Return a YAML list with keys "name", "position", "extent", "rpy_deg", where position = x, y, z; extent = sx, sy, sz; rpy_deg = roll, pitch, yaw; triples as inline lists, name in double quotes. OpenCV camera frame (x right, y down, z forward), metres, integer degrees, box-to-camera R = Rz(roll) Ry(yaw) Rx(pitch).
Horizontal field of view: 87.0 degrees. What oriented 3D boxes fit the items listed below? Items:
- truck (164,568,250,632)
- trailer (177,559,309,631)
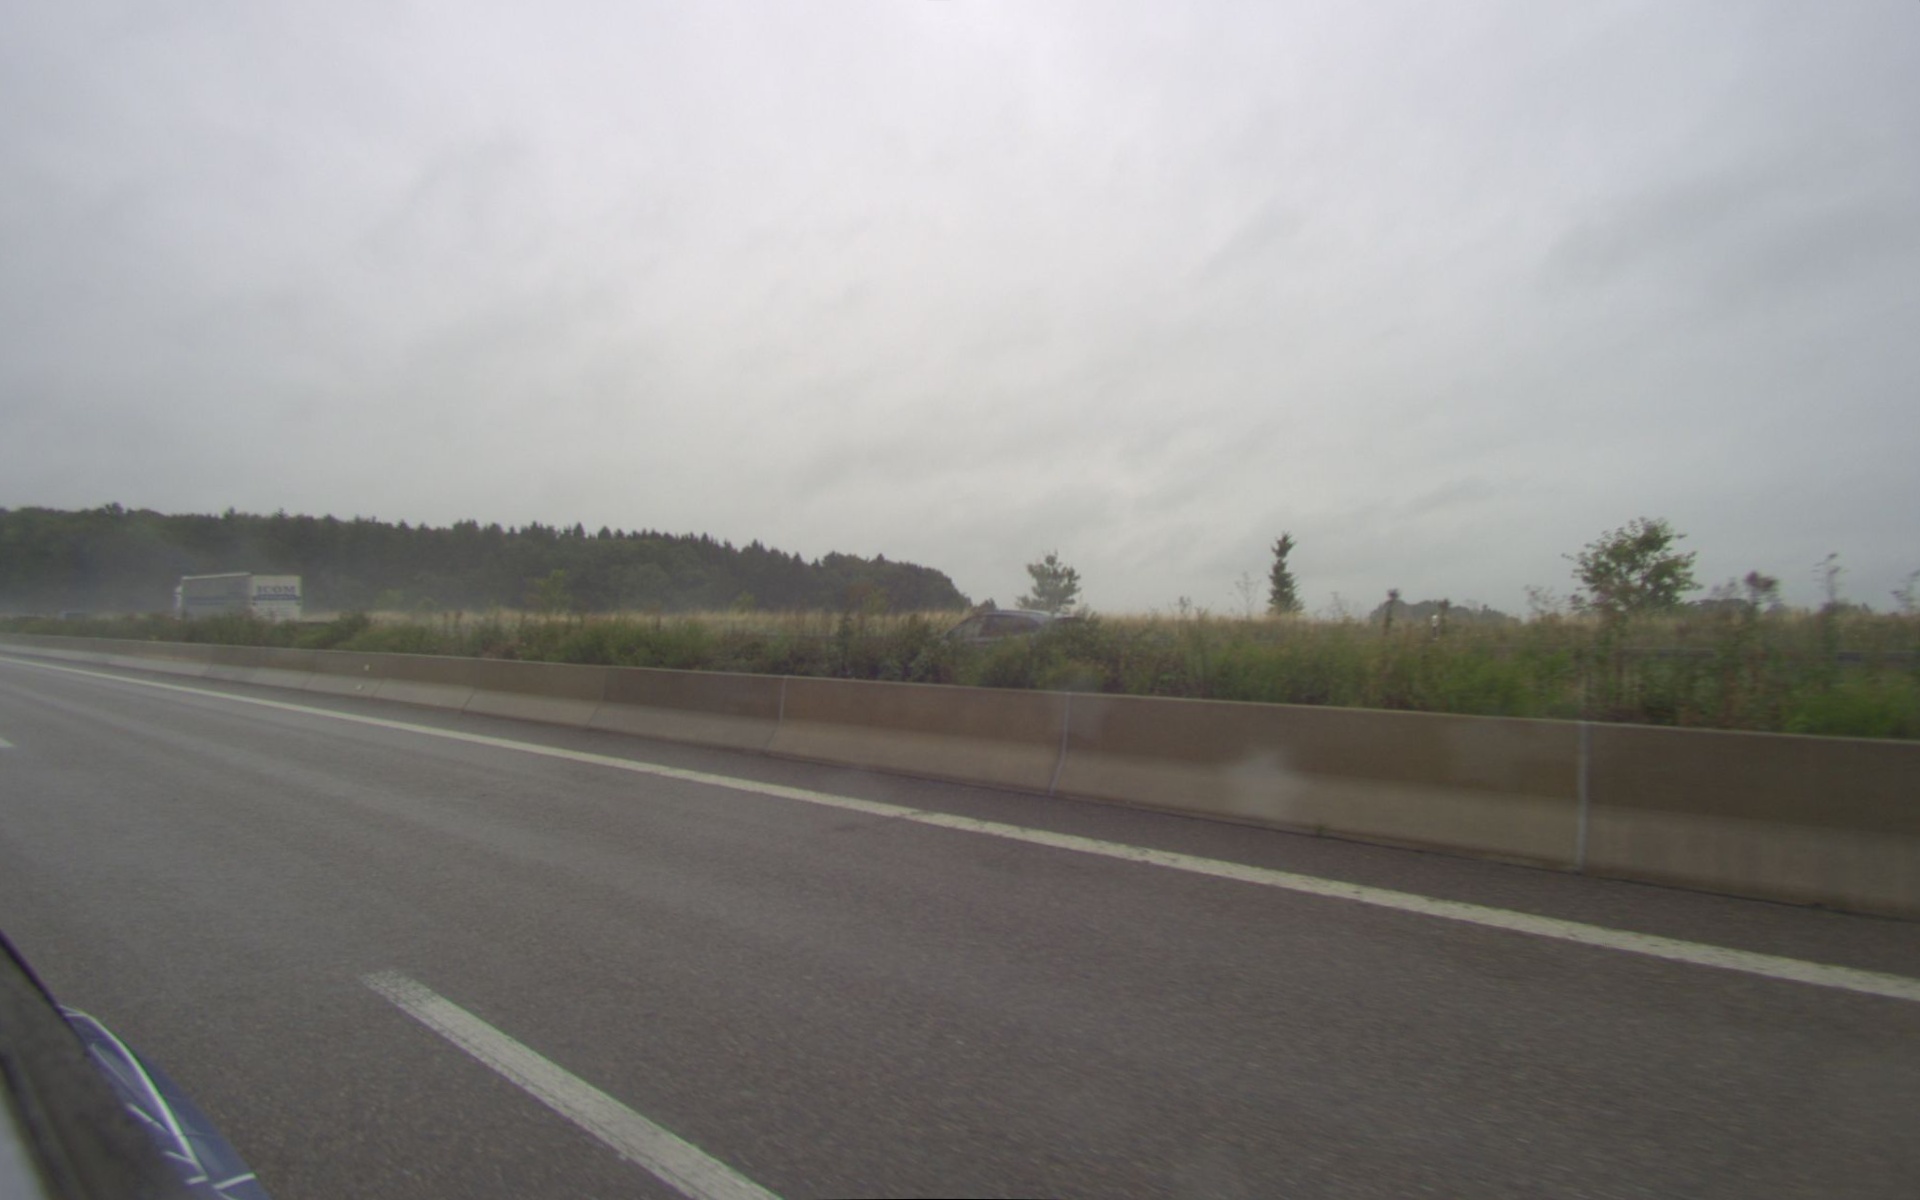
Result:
- name: "truck"
  position: [-49.956, 0.002, 67.122]
  extent: [5.969, 4.056, 3.293]
  rpy_deg: [-1, 0, 40]
- name: "trailer"
  position: [-44.518, -0.140, 62.558]
  extent: [13.878, 4.049, 3.351]
  rpy_deg: [-1, -1, 40]
